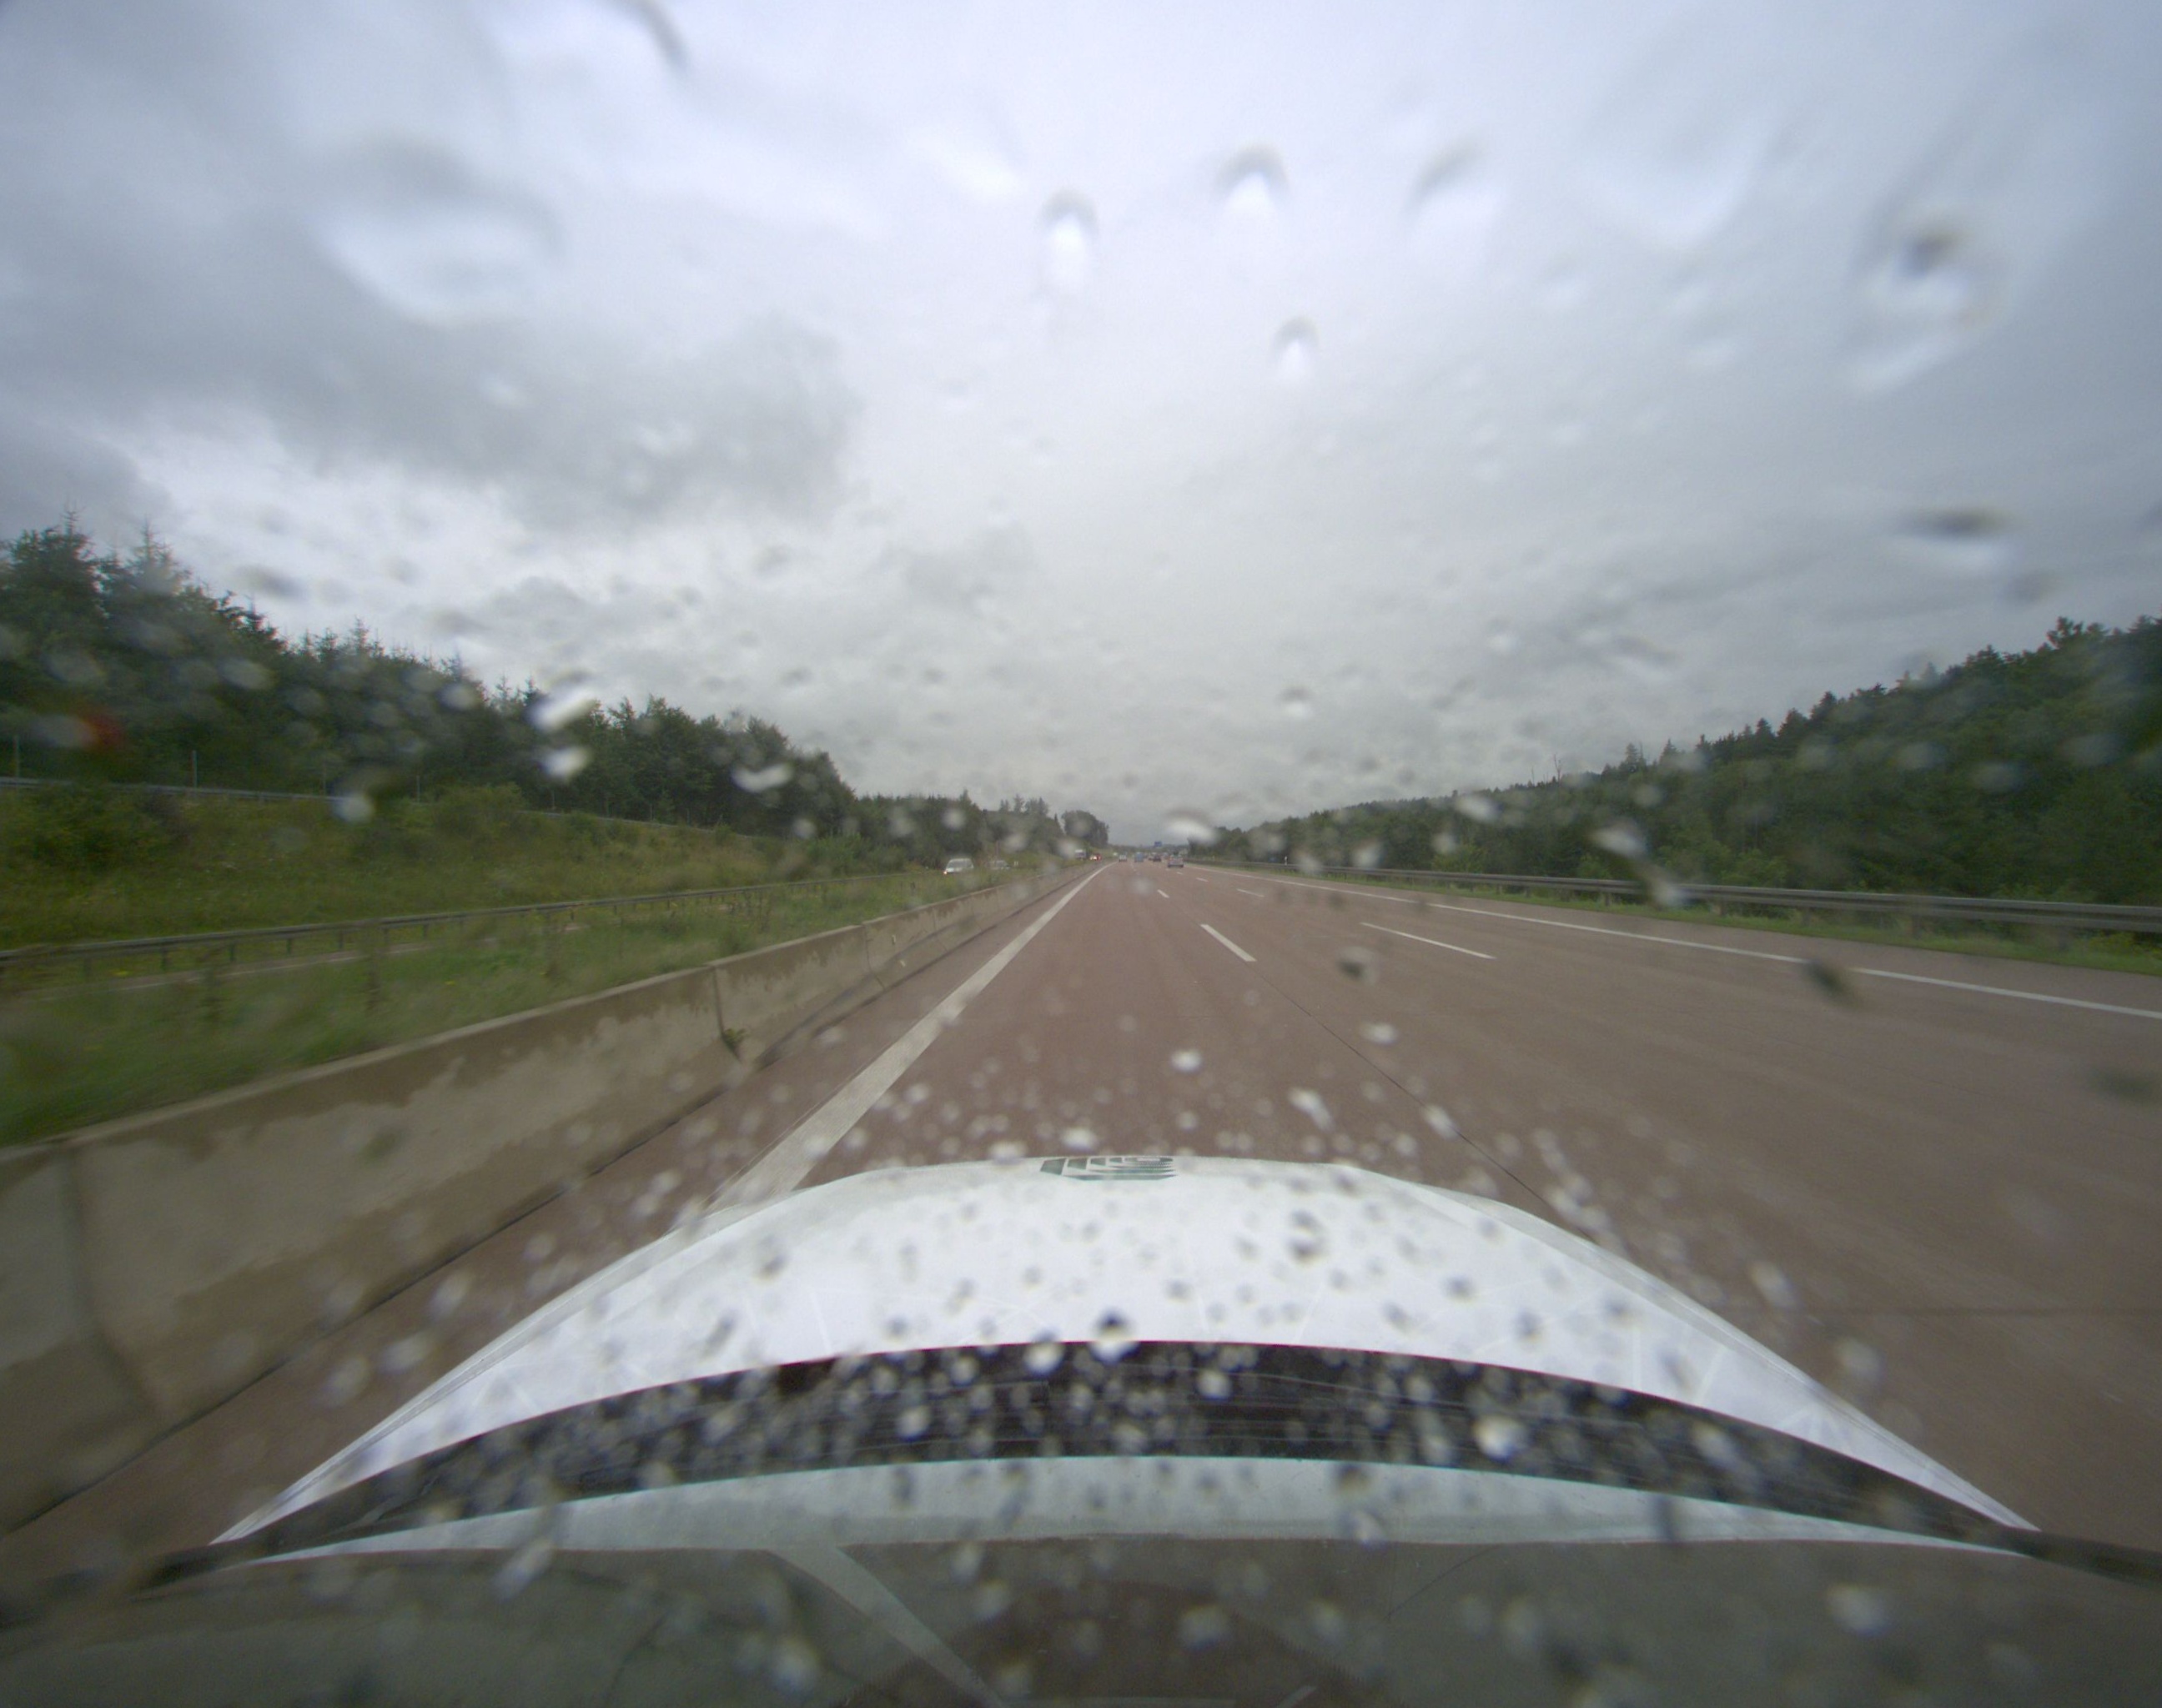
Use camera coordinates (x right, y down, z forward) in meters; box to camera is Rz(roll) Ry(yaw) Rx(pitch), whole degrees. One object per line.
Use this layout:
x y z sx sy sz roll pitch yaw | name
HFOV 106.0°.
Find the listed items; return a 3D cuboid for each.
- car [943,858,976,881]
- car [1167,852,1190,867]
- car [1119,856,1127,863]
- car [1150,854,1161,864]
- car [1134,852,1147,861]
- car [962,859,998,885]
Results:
-9.559 1.213 64.392 1.726 1.722 4.765 0 -1 3 | car
12.096 0.722 101.243 2.315 1.750 4.874 0 -1 -1 | car
9.711 1.279 188.268 1.866 1.444 4.879 0 -1 2 | car
16.776 1.150 182.709 1.988 2.014 3.998 0 -1 -1 | car
12.920 0.558 176.629 2.315 1.750 4.874 0 -1 -1 | car
-6.671 1.176 54.243 1.671 1.647 4.447 0 -1 3 | car
